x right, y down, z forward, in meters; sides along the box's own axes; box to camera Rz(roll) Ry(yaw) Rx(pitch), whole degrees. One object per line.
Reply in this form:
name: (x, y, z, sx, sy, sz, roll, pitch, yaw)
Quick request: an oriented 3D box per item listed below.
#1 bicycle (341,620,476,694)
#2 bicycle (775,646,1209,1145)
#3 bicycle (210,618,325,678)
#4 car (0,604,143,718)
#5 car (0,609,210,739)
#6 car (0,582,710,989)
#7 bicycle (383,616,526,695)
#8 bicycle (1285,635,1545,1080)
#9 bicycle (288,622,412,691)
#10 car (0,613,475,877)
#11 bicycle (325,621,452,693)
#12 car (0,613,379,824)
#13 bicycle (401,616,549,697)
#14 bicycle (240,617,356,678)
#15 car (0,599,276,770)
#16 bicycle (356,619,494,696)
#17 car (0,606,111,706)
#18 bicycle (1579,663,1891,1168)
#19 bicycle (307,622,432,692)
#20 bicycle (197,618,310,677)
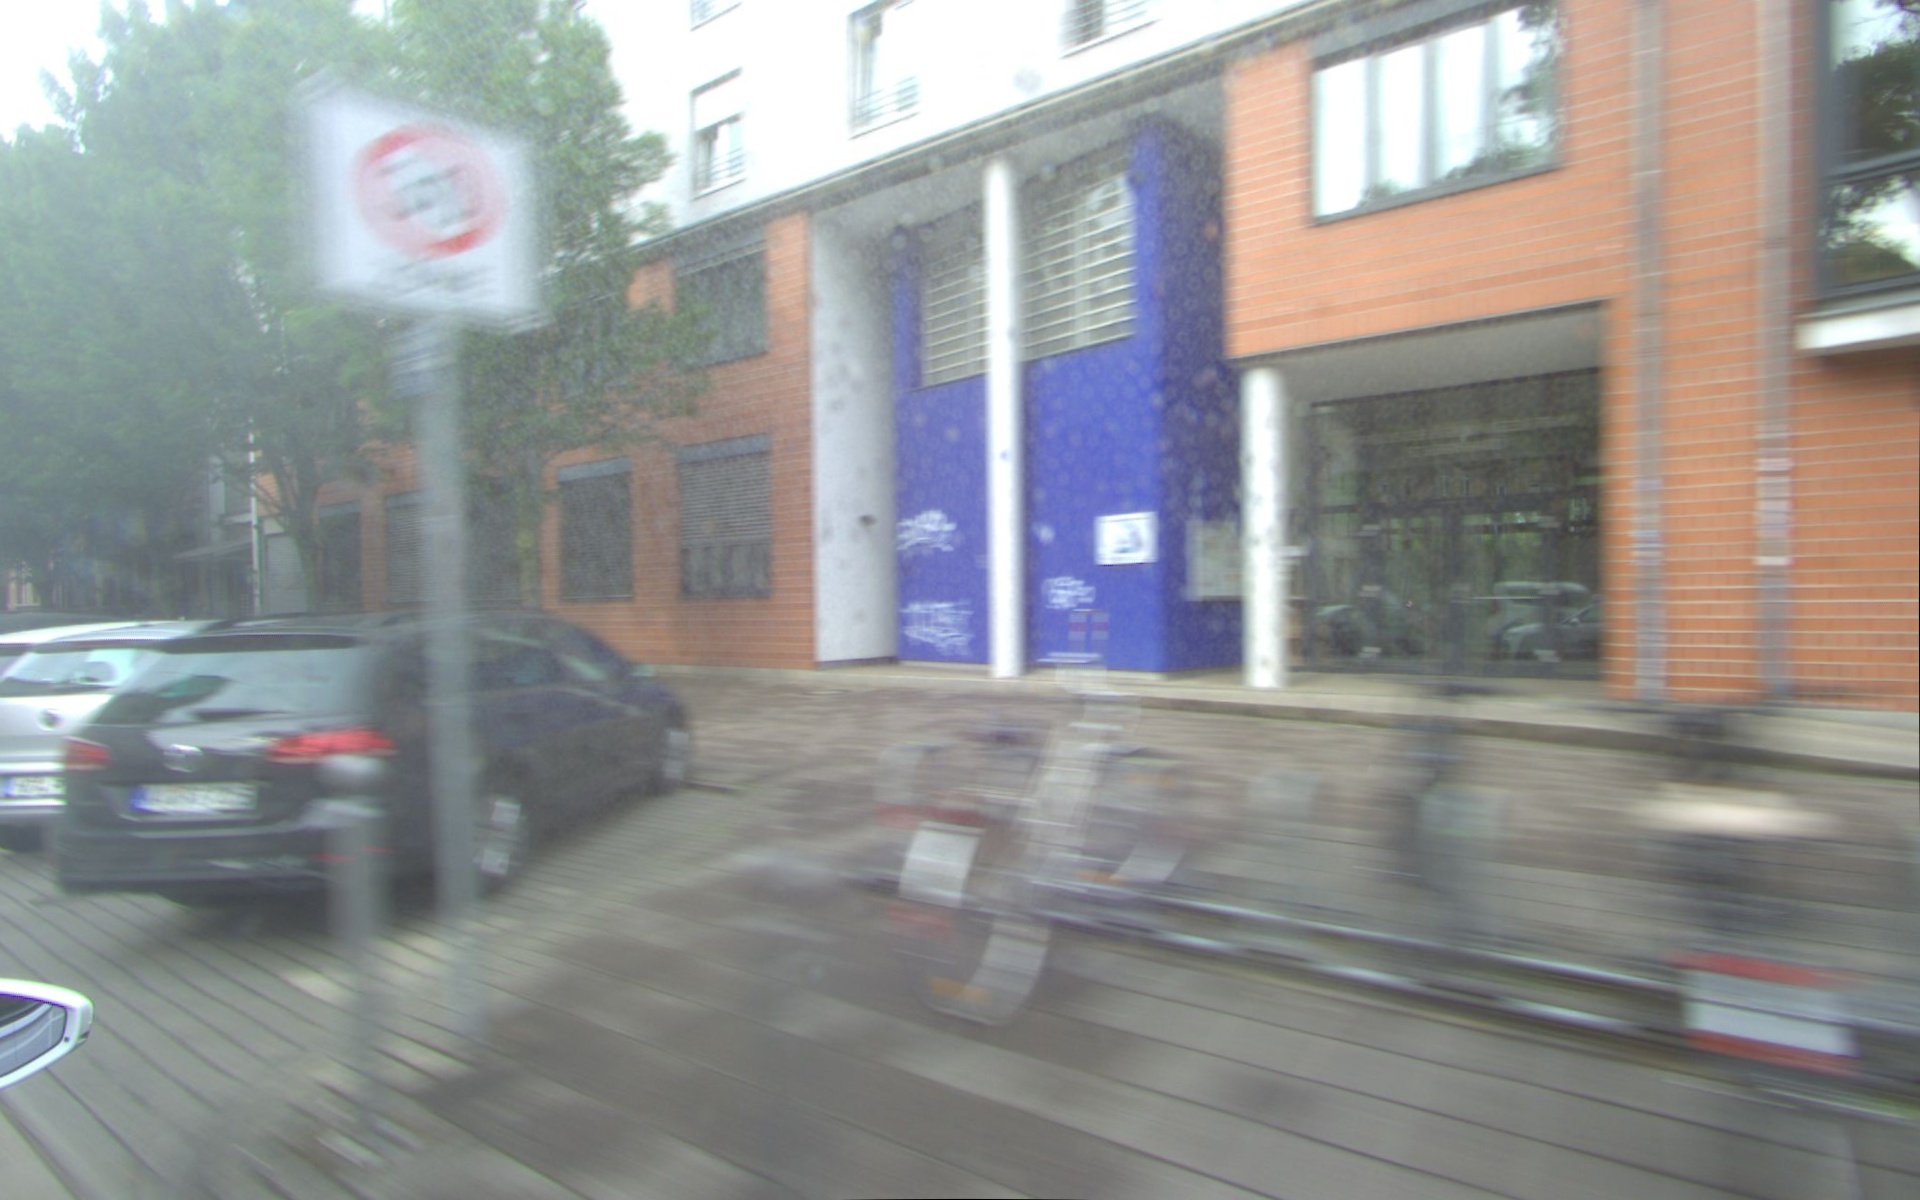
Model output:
bicycle: (-8.850, 0.888, 16.137, 0.558, 1.106, 1.830, -2, -1, 35)
bicycle: (0.249, 0.797, 3.491, 0.603, 1.156, 1.879, -2, 0, 33)
bicycle: (-13.426, 0.912, 19.451, 0.558, 1.106, 1.747, -2, -1, 35)
car: (-14.537, 0.906, 14.537, 1.737, 1.606, 4.059, -1, 0, 5)
car: (-12.269, 0.921, 13.214, 1.649, 1.506, 4.059, -2, 0, 0)
car: (-3.129, 0.739, 6.239, 1.827, 1.600, 4.285, -2, 2, 3)
bicycle: (-7.610, 0.814, 15.151, 0.536, 1.106, 1.889, -2, -1, 35)
bicycle: (1.790, 0.761, 3.759, 0.603, 1.156, 1.879, -2, 0, 33)
bicycle: (-10.487, 0.956, 17.271, 0.558, 1.106, 1.747, -2, -1, 35)
car: (-5.452, 0.857, 7.553, 1.809, 1.518, 3.566, 0, -1, 1)
bicycle: (-9.370, 0.907, 16.478, 0.558, 1.106, 1.747, -2, -1, 35)
car: (-7.715, 0.941, 9.498, 1.839, 1.563, 3.988, 0, -2, 5)
bicycle: (-7.125, 0.802, 14.802, 0.569, 1.106, 1.927, -2, -1, 35)
bicycle: (-12.619, 0.884, 19.136, 0.558, 1.106, 1.747, -2, -1, 35)
car: (-9.930, 0.826, 10.929, 1.866, 1.606, 4.059, -1, 0, 5)
bicycle: (-8.286, 0.861, 15.578, 0.536, 1.106, 1.830, -2, -1, 35)
car: (-16.539, 0.942, 16.356, 1.737, 1.606, 4.059, -2, 0, 2)
bicycle: (2.436, 0.807, 3.320, 0.603, 1.057, 1.879, -2, 0, 33)
bicycle: (-9.973, 0.935, 16.963, 0.558, 1.106, 1.747, -2, -1, 35)
bicycle: (-13.973, 0.926, 19.851, 0.558, 1.106, 1.747, -2, -1, 35)
